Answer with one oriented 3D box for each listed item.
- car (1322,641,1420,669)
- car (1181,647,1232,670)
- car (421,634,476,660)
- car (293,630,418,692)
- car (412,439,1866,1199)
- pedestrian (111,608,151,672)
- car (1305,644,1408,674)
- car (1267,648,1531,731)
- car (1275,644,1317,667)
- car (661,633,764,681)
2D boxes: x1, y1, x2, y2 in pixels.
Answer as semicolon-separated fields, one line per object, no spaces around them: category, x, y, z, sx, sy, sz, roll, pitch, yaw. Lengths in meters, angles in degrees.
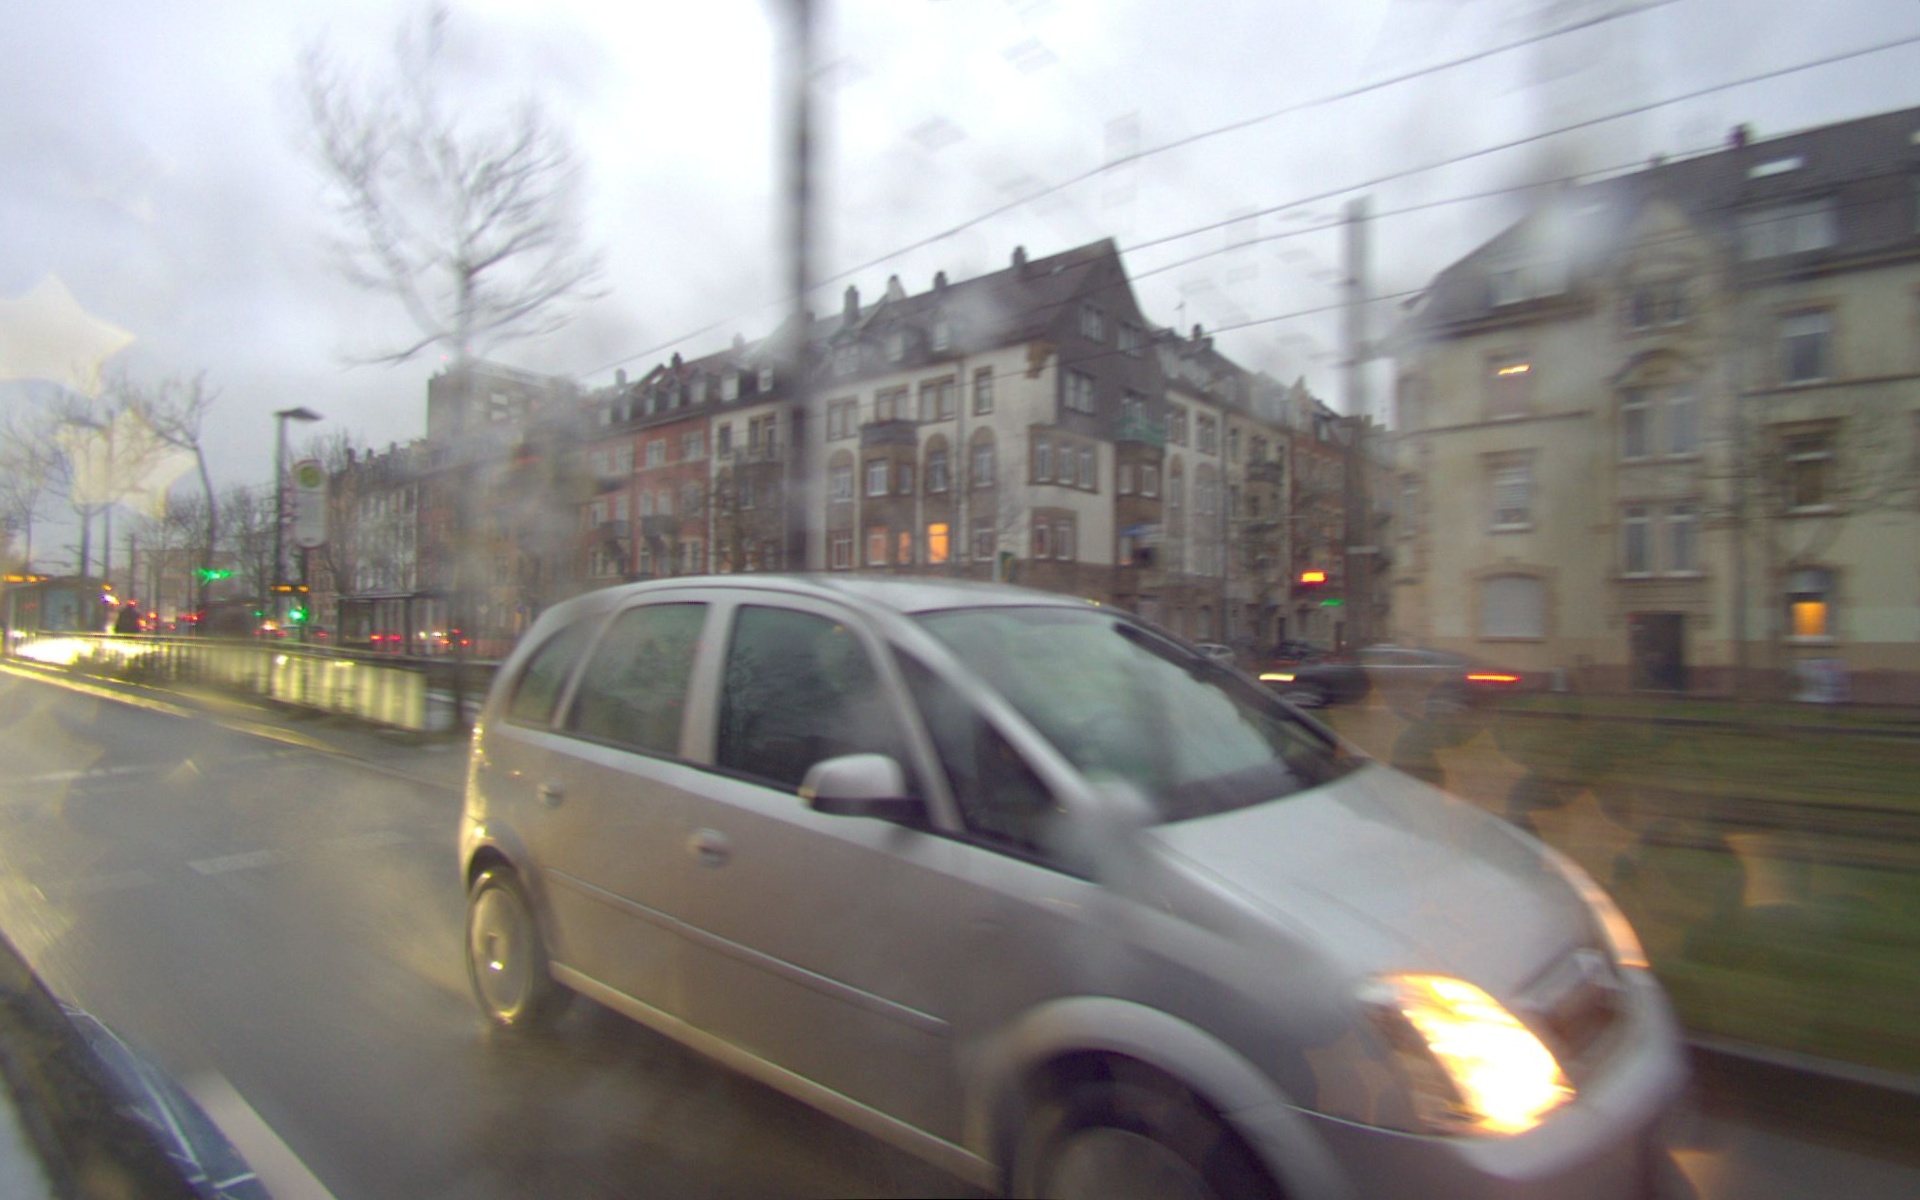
car;18.960;2.518;46.866;1.838;1.221;4.013;2;-3;-25
car;12.249;2.913;50.237;1.330;1.083;2.860;-1;-3;41
car;-29.142;2.678;57.632;3.258;1.418;1.660;-1;-4;41
car;-16.000;1.562;26.703;3.998;1.497;1.646;-1;-3;41
car;0.076;0.651;3.201;4.049;1.612;1.791;-1;-1;39
pedestrian;-26.818;1.295;32.750;0.864;2.029;0.932;4;-4;-38
car;17.240;2.544;44.170;1.838;1.221;4.013;2;-3;-25
car;8.966;1.769;20.931;4.697;1.464;1.845;-1;-3;41
car;19.445;3.211;58.489;1.330;1.298;2.860;-1;-3;41
car;-9.498;2.124;38.735;3.998;1.650;1.845;-1;0;41
